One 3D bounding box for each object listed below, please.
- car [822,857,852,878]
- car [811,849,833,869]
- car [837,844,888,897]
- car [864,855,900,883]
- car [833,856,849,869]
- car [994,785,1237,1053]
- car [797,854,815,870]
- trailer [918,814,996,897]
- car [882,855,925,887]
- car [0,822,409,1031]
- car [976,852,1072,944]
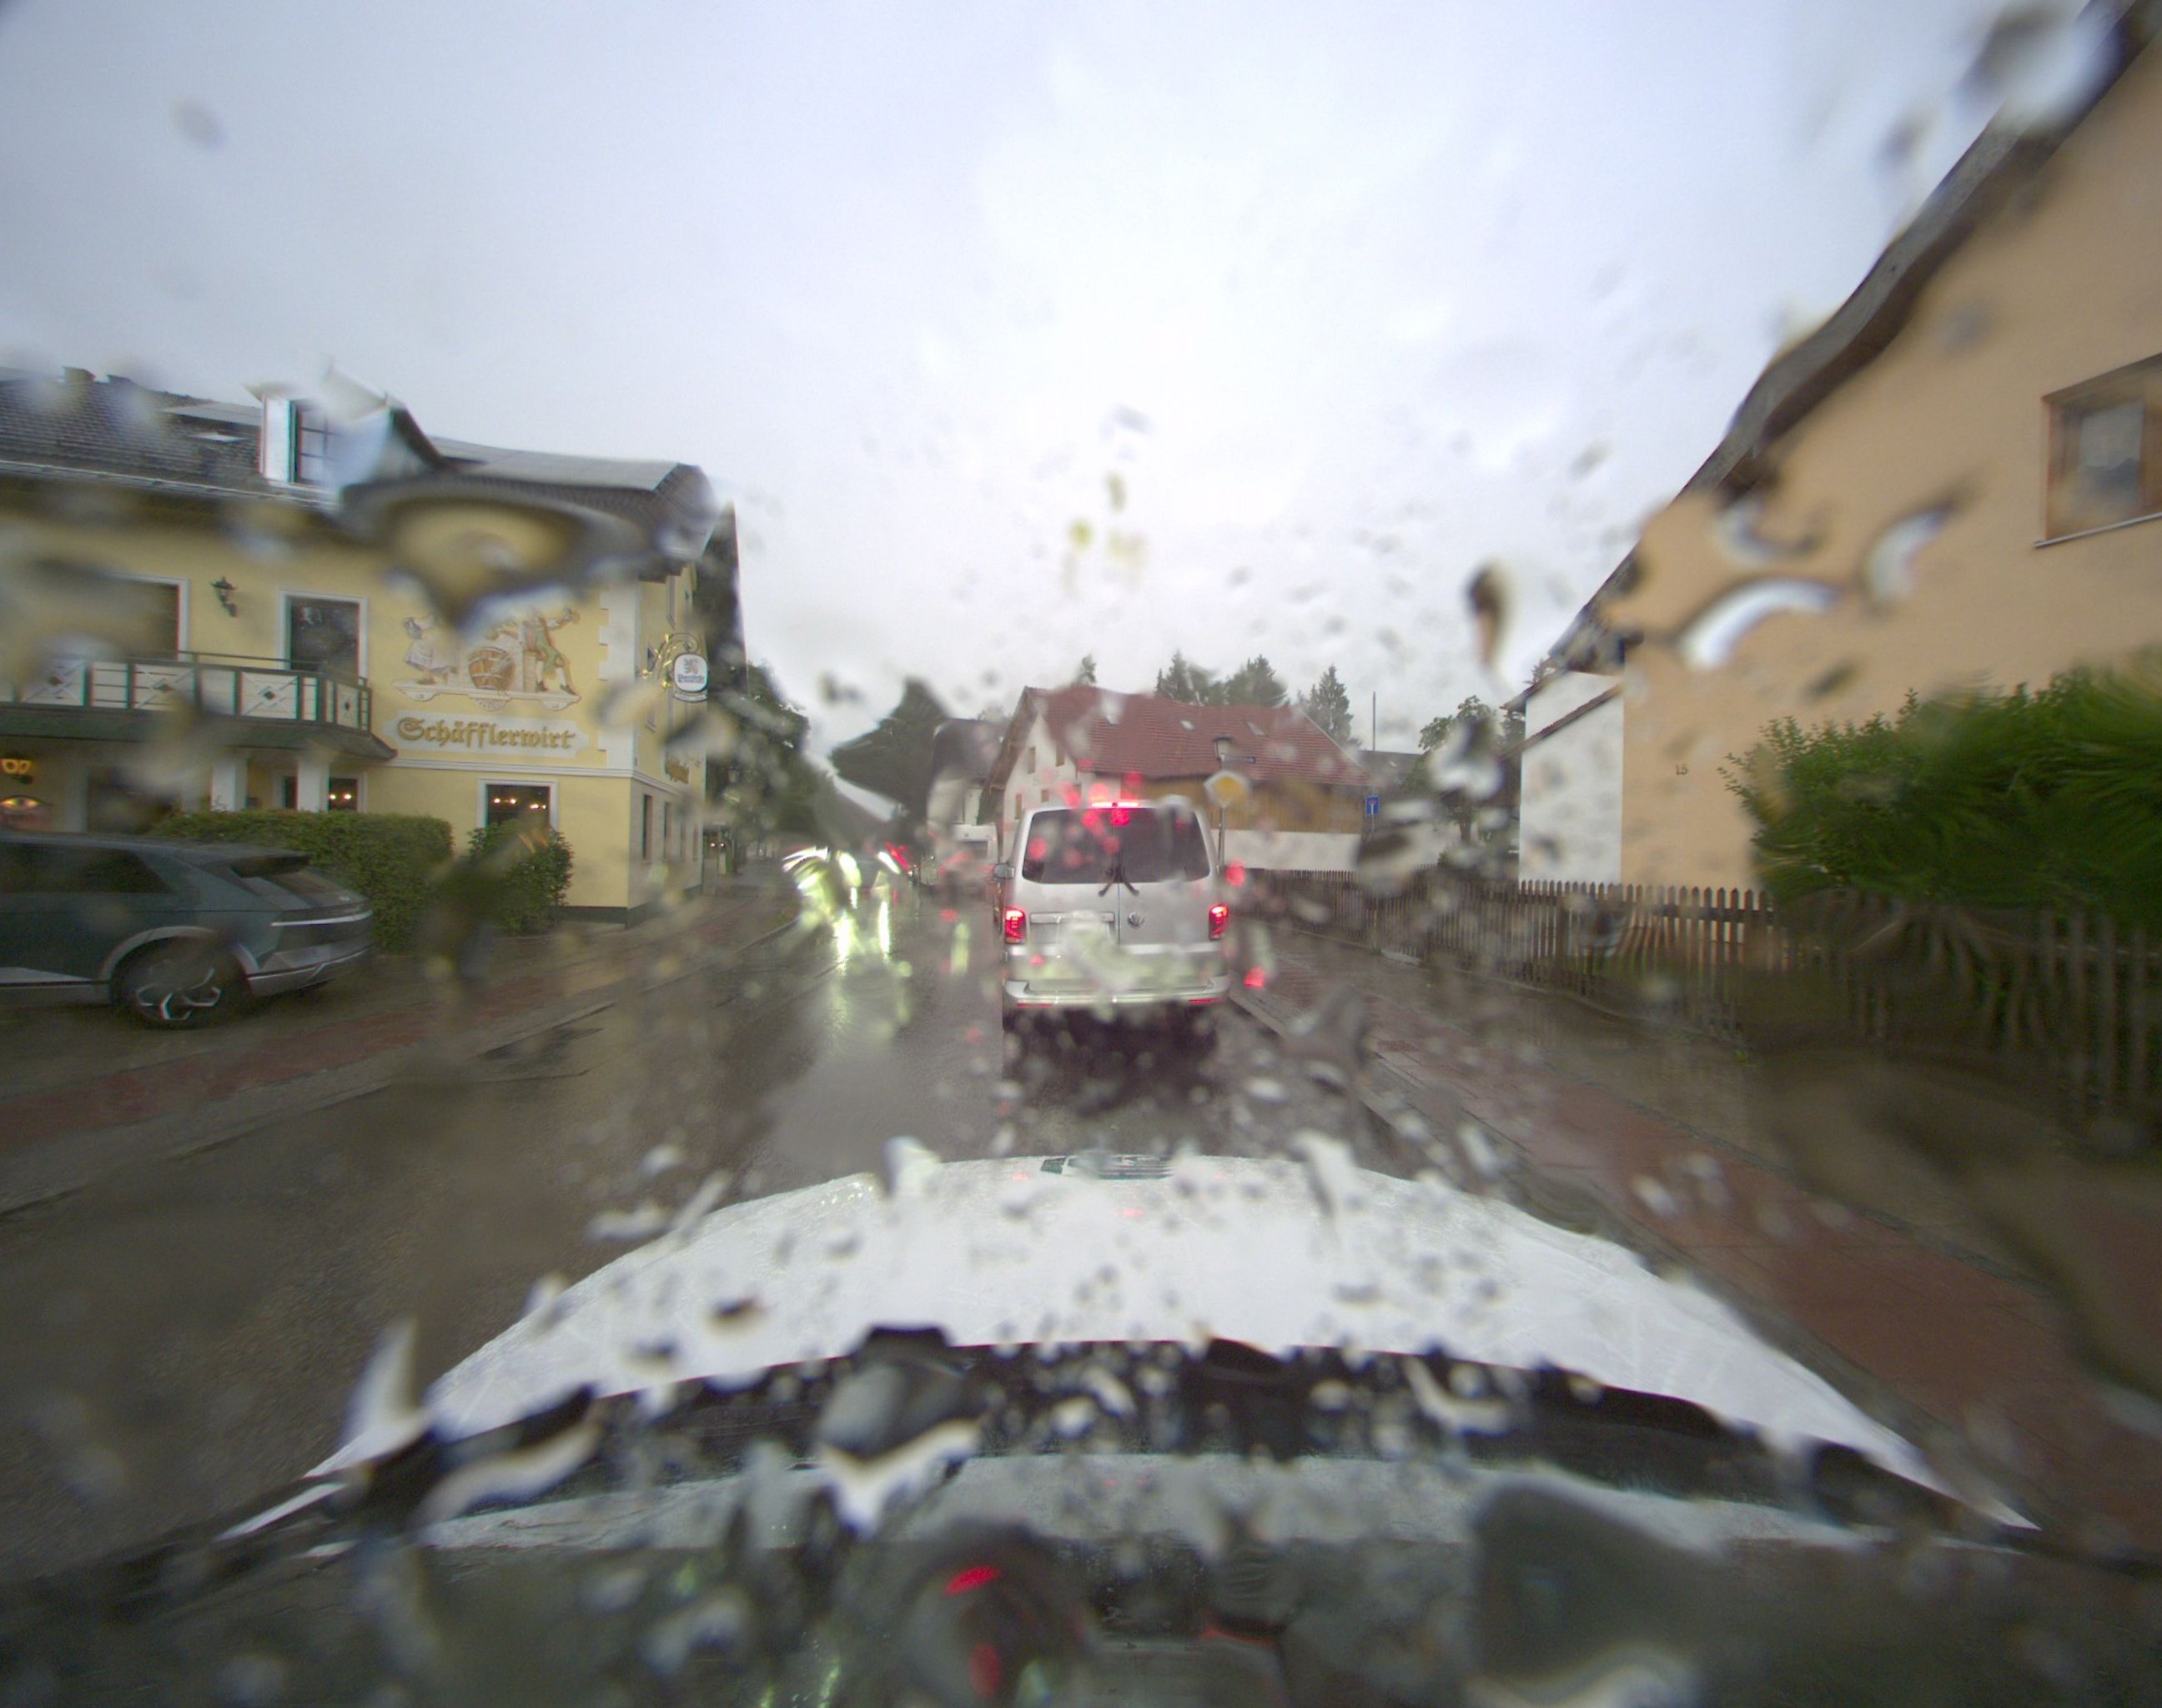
[{"bbox_3d":[-17.300,0.908,57.618,1.867,1.359,4.456,-1,1,-18],"label":"car"},{"bbox_3d":[-24.573,0.455,77.357,1.867,1.758,4.456,-3,1,-18],"label":"car"},{"bbox_3d":[-9.013,0.651,33.514,1.854,1.971,4.675,-1,-1,-16],"label":"car"},{"bbox_3d":[-15.064,1.085,61.567,2.176,1.899,4.982,1,0,-19],"label":"car"},{"bbox_3d":[-38.245,1.374,129.833,2.176,1.899,4.982,1,0,-19],"label":"car"},{"bbox_3d":[0.353,0.494,8.573,1.769,1.963,5.077,-1,0,2],"label":"car"},{"bbox_3d":[-32.237,0.900,95.551,1.867,1.758,4.456,-3,1,-18],"label":"car"},{"bbox_3d":[-4.994,0.056,32.018,2.275,2.904,6.099,0,0,-16],"label":"trailer"},{"bbox_3d":[-11.656,1.069,53.325,2.176,1.899,4.982,1,0,-19],"label":"car"},{"bbox_3d":[-9.150,0.570,7.209,4.492,1.567,1.827,4,1,-21],"label":"car"},{"bbox_3d":[-1.231,0.797,17.345,1.705,1.584,4.678,-2,1,-5],"label":"car"}]
